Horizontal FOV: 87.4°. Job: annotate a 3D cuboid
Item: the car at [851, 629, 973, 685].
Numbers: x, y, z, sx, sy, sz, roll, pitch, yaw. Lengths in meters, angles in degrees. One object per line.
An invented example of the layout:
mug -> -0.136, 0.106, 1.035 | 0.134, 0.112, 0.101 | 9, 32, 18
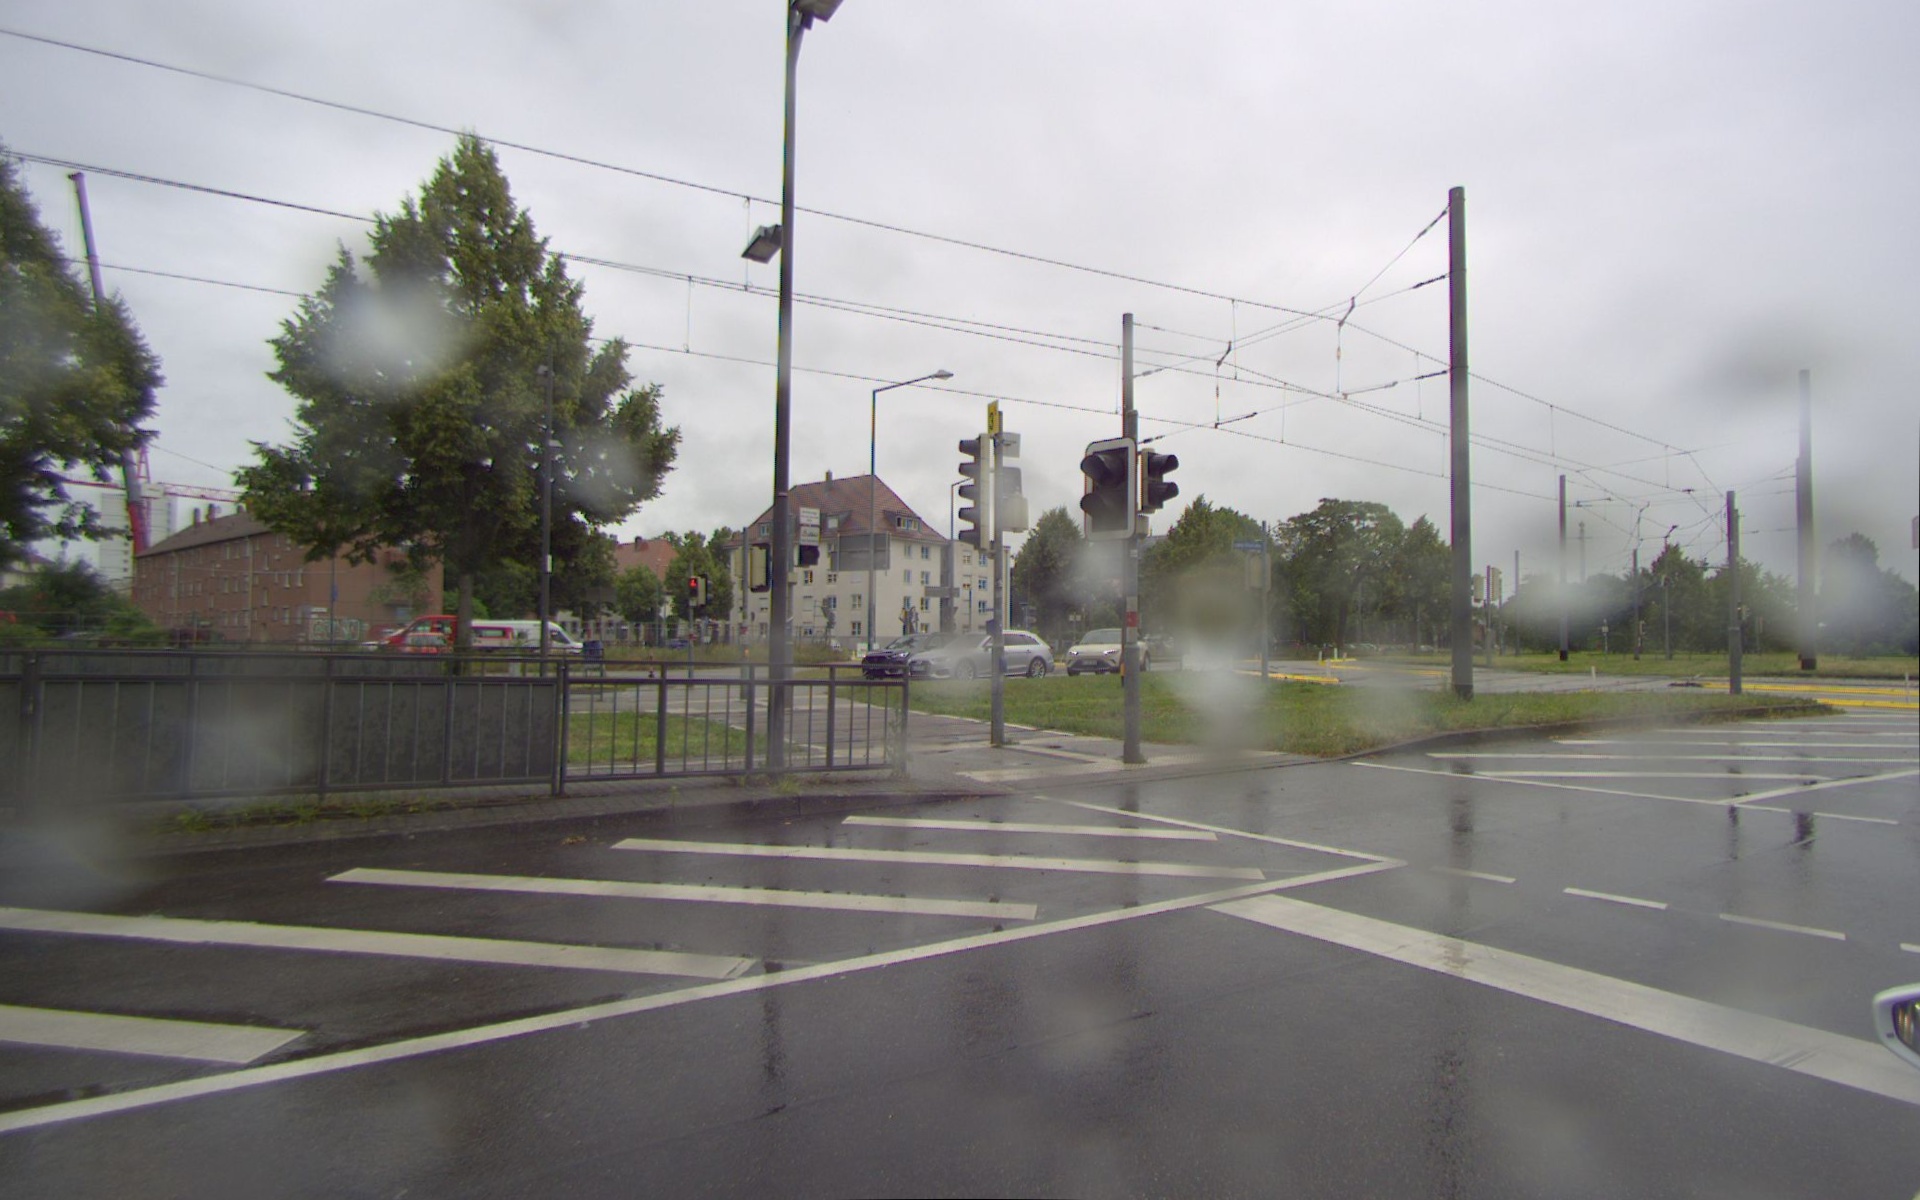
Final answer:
car -> -1.399, 1.694, 31.002 | 1.799, 1.506, 3.991 | 2, 0, 32

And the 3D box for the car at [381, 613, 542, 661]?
car -> -22.885, 1.717, 46.439 | 6.329, 2.040, 2.346 | 2, 0, -20

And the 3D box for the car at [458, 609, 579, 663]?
car -> -26.160, 2.153, 59.845 | 6.329, 2.978, 2.346 | 2, 0, -20

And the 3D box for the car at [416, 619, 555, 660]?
car -> -24.836, 2.073, 52.868 | 6.329, 2.040, 2.347 | 1, -2, -20

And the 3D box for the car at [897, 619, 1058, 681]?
car -> 0.563, 1.314, 27.425 | 1.805, 1.506, 4.601 | 2, 0, 42

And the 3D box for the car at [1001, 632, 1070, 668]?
car -> 5.437, 3.579, 72.250 | 4.743, 2.358, 2.001 | 2, 0, 9

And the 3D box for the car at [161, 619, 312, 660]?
car -> -39.362, 2.112, 54.794 | 2.325, 2.040, 6.388 | 2, 0, 44

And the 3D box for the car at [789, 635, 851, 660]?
car -> -11.632, 3.925, 83.363 | 4.747, 1.835, 2.000 | 2, 0, 22

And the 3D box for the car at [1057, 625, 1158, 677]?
car -> 4.904, 1.609, 32.971 | 1.819, 1.506, 4.217 | 2, 0, 31
